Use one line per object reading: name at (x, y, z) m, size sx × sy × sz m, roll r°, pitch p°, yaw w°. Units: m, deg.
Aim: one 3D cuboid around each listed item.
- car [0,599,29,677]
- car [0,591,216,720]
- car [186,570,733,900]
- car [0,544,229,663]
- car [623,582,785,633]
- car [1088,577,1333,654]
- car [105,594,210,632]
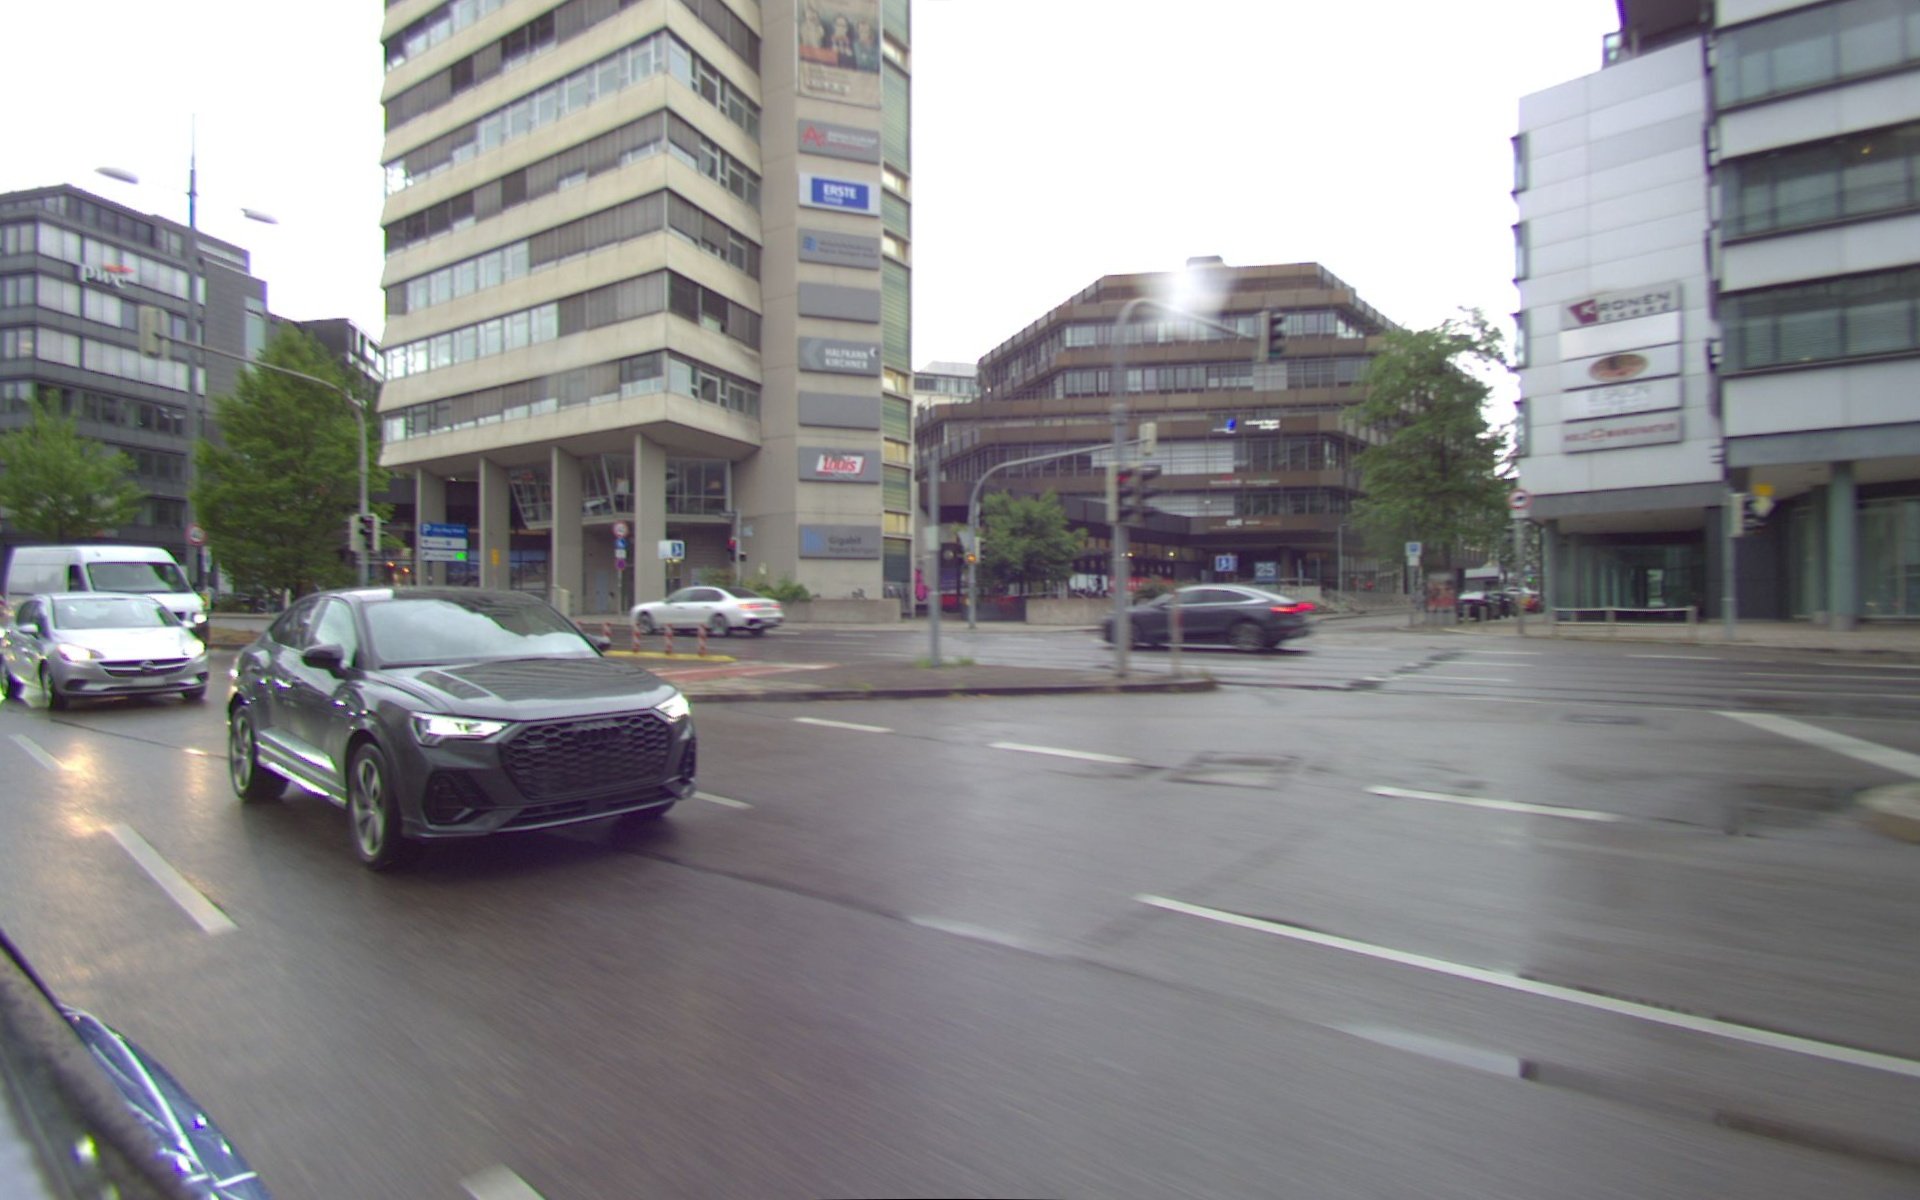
car at (-19.541, 0.706, 19.042) m, size 4.226 × 1.412 × 1.886 m, roll 0°, pitch 1°, yaw 31°
car at (-11.823, 0.632, 13.853) m, size 4.125 × 1.490 × 1.751 m, roll 0°, pitch 1°, yaw 41°
car at (-3.616, 0.615, 6.903) m, size 4.386 × 1.563 × 1.779 m, roll 0°, pitch 1°, yaw 41°
car at (-19.187, 0.054, 22.754) m, size 5.694 × 2.403 × 2.239 m, roll 0°, pitch 1°, yaw 29°
car at (-8.136, 0.205, 32.024) m, size 5.232 × 1.529 × 1.771 m, roll 0°, pitch 1°, yaw 30°
car at (5.706, 0.292, 23.378) m, size 5.159 × 1.597 × 1.976 m, roll 0°, pitch 1°, yaw 36°
car at (-32.660, 0.496, 41.184) m, size 3.976 × 1.475 × 1.729 m, roll 0°, pitch 1°, yaw 24°
